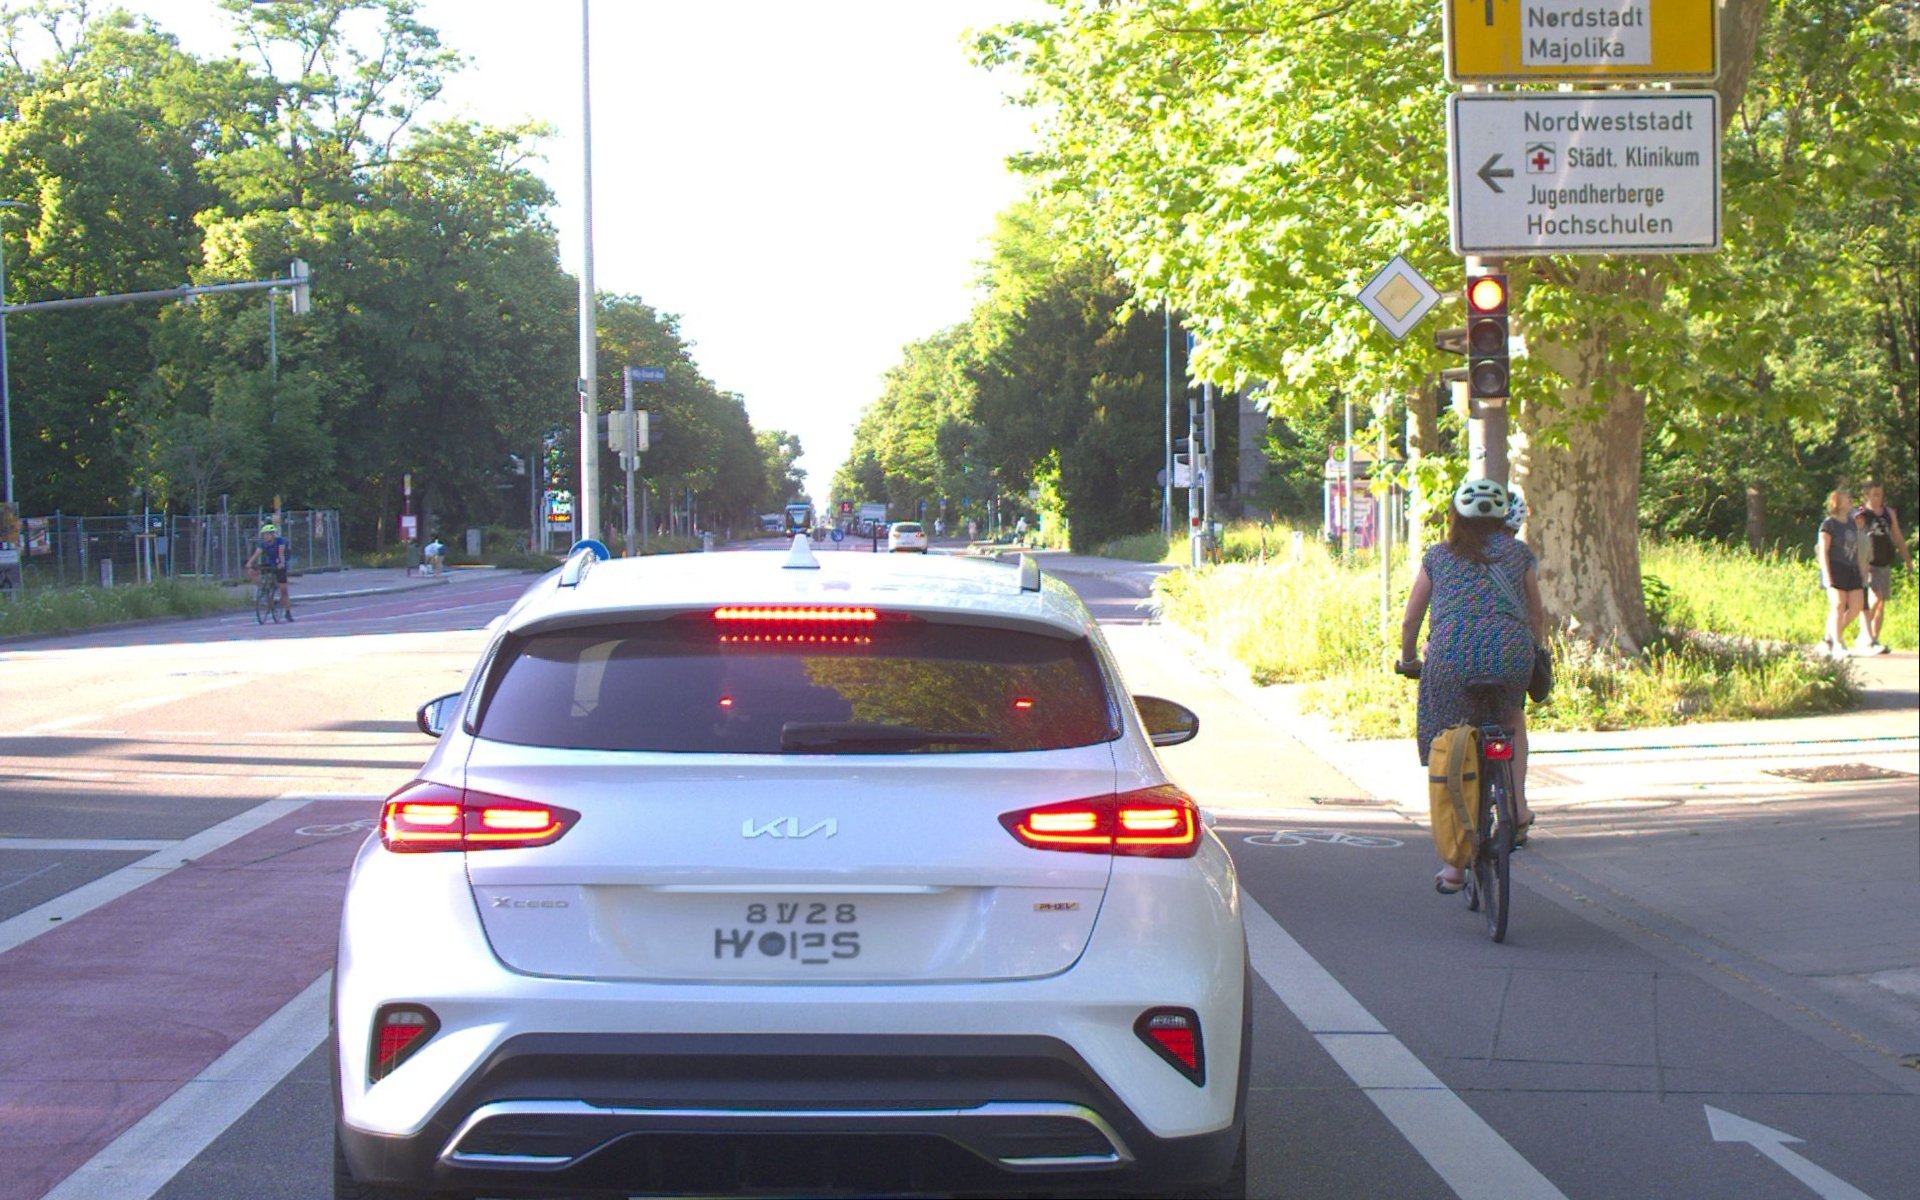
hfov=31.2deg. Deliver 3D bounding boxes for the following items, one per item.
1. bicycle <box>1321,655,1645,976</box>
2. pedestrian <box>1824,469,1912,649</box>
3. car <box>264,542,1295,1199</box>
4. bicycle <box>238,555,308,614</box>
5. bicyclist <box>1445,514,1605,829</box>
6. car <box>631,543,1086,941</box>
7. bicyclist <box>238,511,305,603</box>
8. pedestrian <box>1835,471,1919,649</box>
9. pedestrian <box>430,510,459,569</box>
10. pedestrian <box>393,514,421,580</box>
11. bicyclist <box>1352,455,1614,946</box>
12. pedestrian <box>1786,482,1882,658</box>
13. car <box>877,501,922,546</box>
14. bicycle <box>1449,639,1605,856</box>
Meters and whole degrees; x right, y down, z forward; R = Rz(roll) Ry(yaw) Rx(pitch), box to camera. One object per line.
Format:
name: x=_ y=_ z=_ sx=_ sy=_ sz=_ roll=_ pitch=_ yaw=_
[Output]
bicycle: x=1.973 y=0.778 z=13.360 sx=0.758 sy=1.009 sz=2.570 roll=1 pitch=1 yaw=-2
pedestrian: x=9.036 y=-0.413 z=34.218 sx=0.615 sy=1.765 sz=0.647 roll=-2 pitch=1 yaw=-7
car: x=-0.382 y=0.620 z=8.065 sx=1.821 sy=1.475 sz=3.937 roll=0 pitch=1 yaw=-2
bicycle: x=-12.203 y=-0.284 z=61.134 sx=0.663 sy=0.985 sz=2.504 roll=-1 pitch=1 yaw=2
bicyclist: x=2.747 y=0.336 z=16.752 sx=0.554 sy=1.473 sz=0.717 roll=-4 pitch=1 yaw=-2
car: x=-0.459 y=0.520 z=15.091 sx=1.728 sy=1.478 sz=3.517 roll=-1 pitch=1 yaw=-2
bicyclist: x=-12.216 y=-0.775 z=61.040 sx=0.875 sy=1.603 sz=1.188 roll=-1 pitch=1 yaw=1
pedestrian: x=9.395 y=-0.412 z=34.702 sx=0.817 sy=1.765 sz=0.832 roll=-2 pitch=1 yaw=-7
pedestrian: x=-15.811 y=-1.853 z=105.486 sx=0.785 sy=1.779 sz=0.751 roll=0 pitch=1 yaw=0
pedestrian: x=-16.923 y=-1.617 z=105.165 sx=0.641 sy=2.007 sz=0.753 roll=0 pitch=1 yaw=10
bicyclist: x=1.985 y=0.355 z=13.197 sx=0.753 sy=1.789 sz=1.165 roll=1 pitch=1 yaw=-2
pedestrian: x=8.539 y=-0.298 z=33.589 sx=0.689 sy=1.693 sz=0.644 roll=-2 pitch=1 yaw=-7
car: x=-2.768 y=-3.554 z=158.842 sx=1.993 sy=2.007 sz=4.000 roll=-1 pitch=1 yaw=-1
bicycle: x=2.769 y=0.700 z=16.882 sx=0.401 sy=0.953 sz=1.551 roll=-4 pitch=1 yaw=-2
